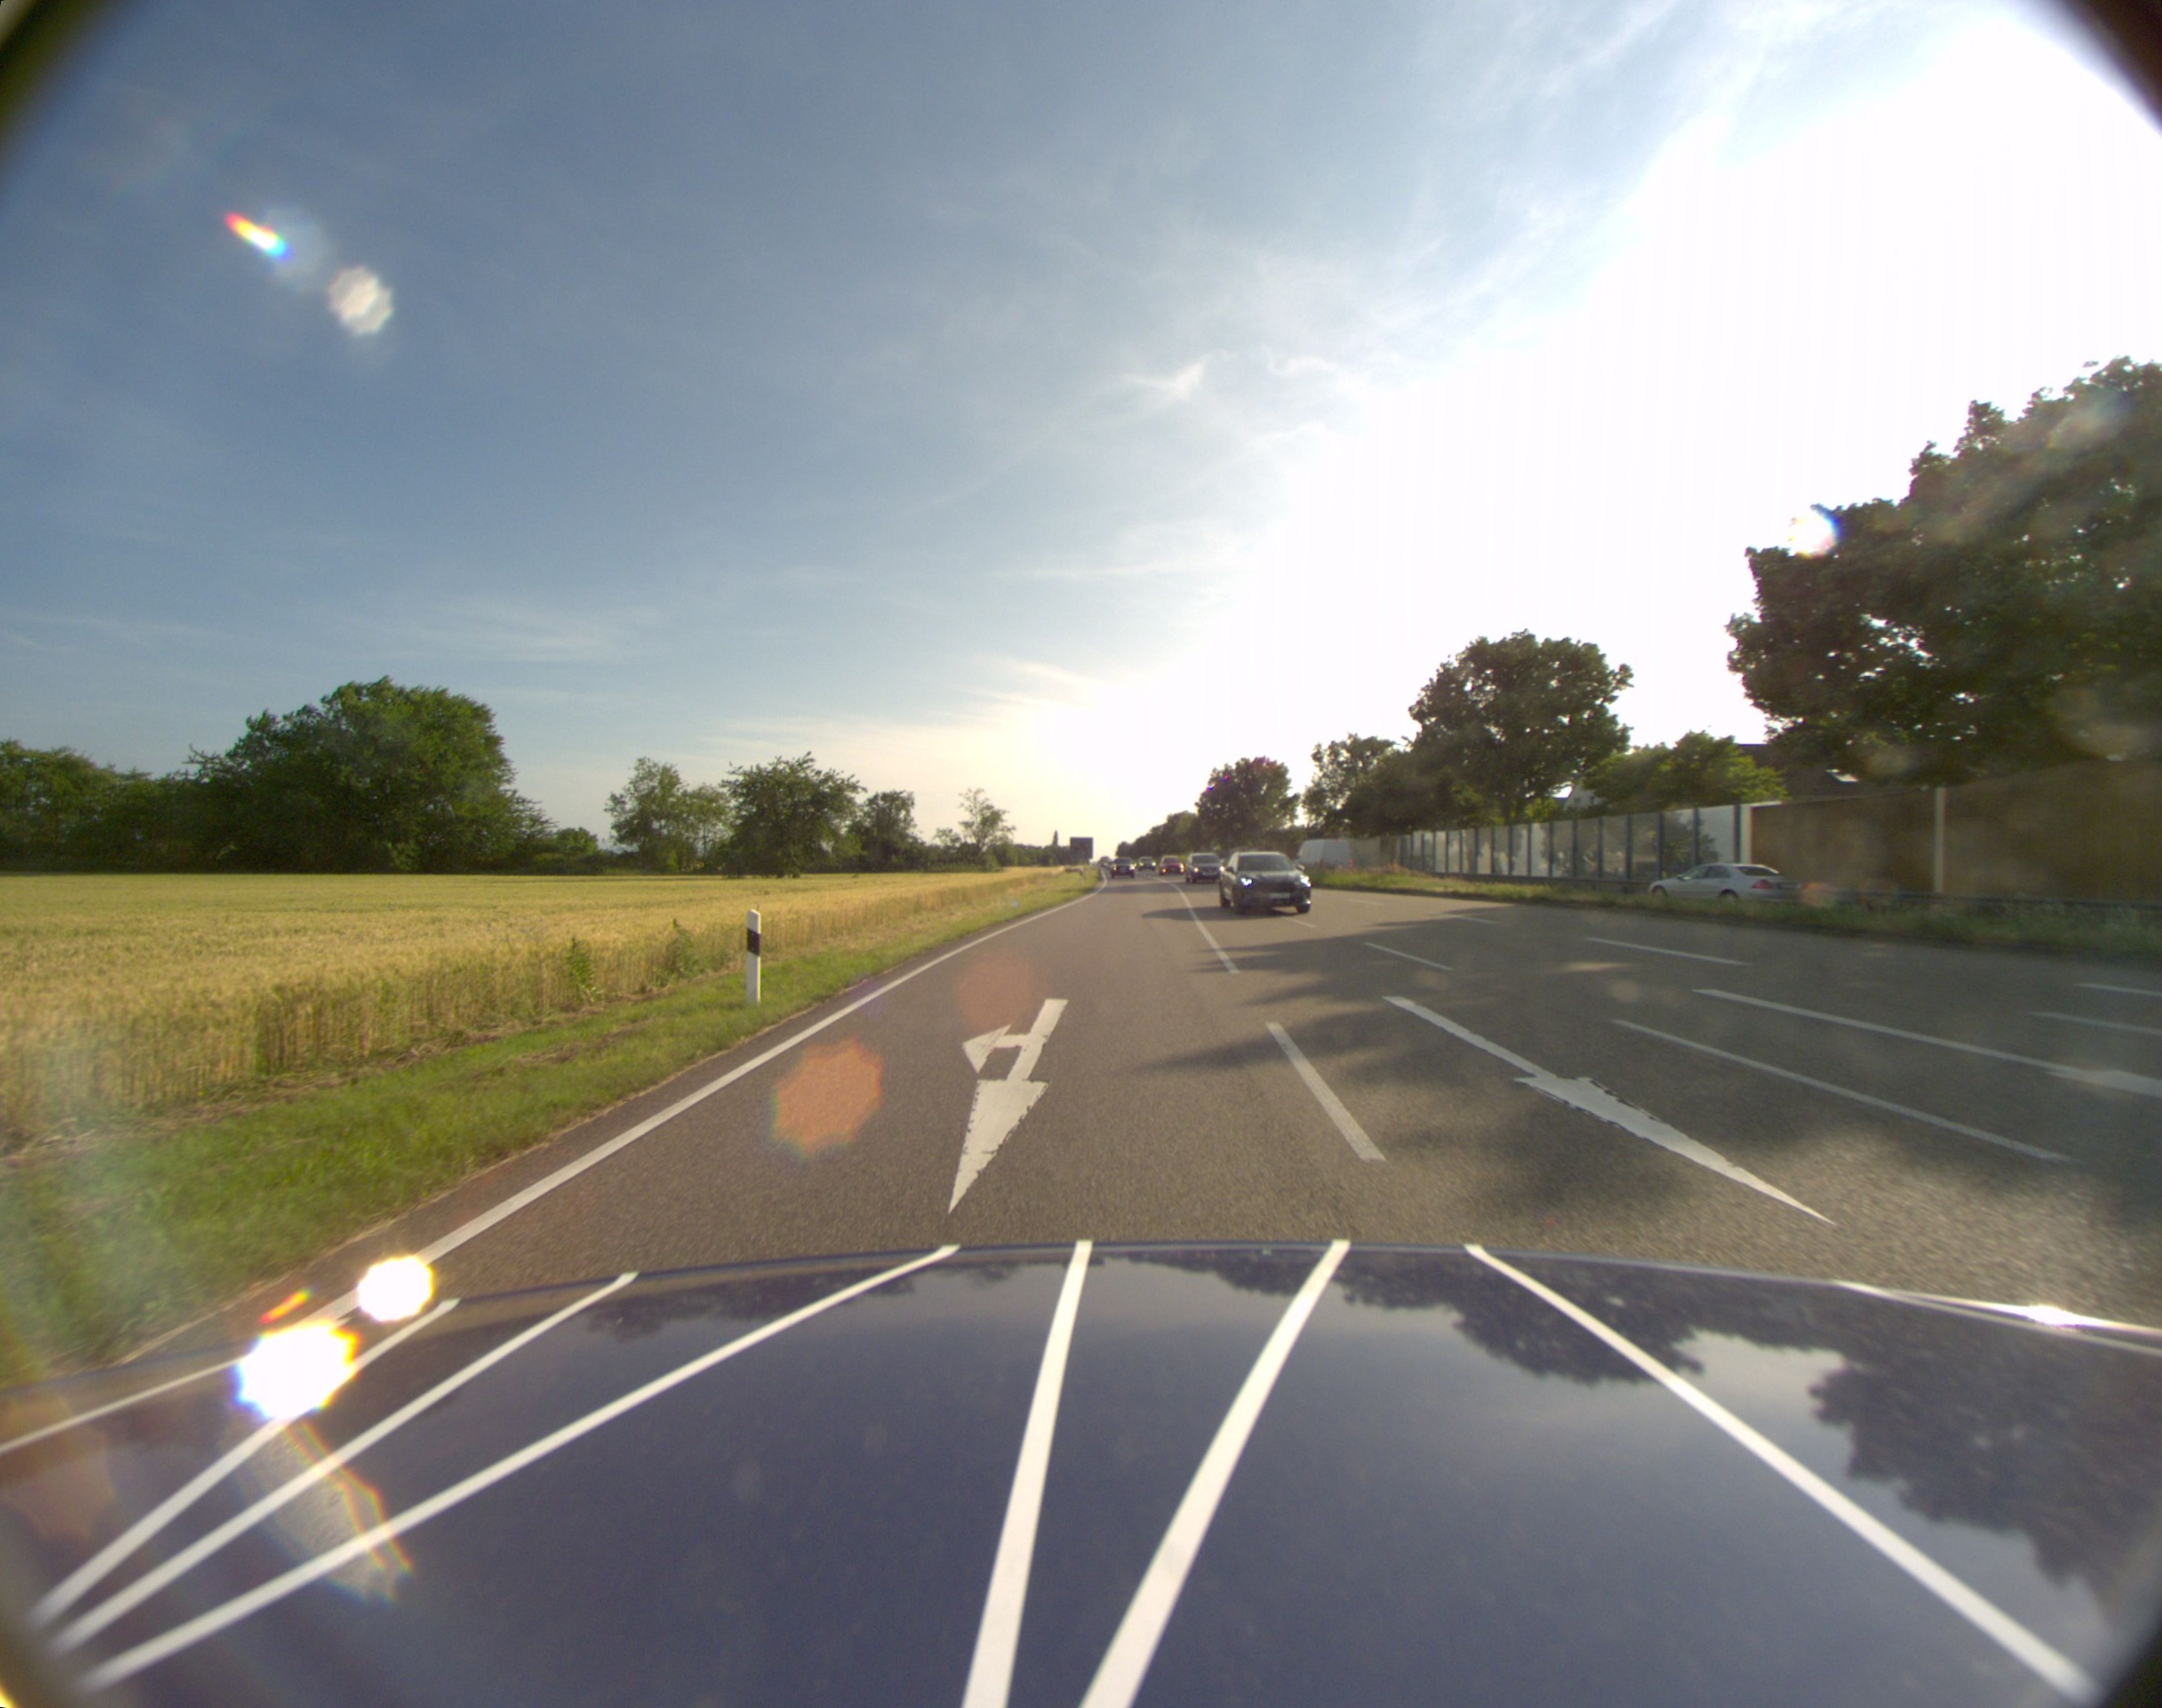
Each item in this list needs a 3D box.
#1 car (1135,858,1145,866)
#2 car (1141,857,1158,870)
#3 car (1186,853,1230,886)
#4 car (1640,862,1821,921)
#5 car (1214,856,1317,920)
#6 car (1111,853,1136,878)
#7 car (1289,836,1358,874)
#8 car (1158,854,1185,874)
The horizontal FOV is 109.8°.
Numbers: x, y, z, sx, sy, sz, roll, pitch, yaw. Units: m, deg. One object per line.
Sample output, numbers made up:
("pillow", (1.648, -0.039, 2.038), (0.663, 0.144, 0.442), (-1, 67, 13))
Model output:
("car", (11.182, 1.490, 144.087), (1.693, 1.397, 4.000), (-2, 0, 1))
("car", (8.427, 1.206, 93.978), (1.809, 1.499, 4.000), (-2, 0, 1))
("car", (7.005, 0.814, 42.335), (1.822, 1.724, 4.000), (-2, 0, 2))
("car", (19.870, 1.083, 23.559), (1.655, 1.558, 4.712), (-2, 0, 2))
("car", (4.828, 0.832, 20.510), (1.821, 1.516, 4.247), (-2, 0, 1))
("car", (3.266, 0.875, 58.464), (1.806, 1.783, 4.000), (-2, 0, 2))
("car", (16.093, 0.053, 50.940), (2.354, 2.290, 7.191), (-2, 0, 0))
("car", (7.687, 0.838, 64.753), (1.822, 1.661, 4.000), (-2, 0, 1))
